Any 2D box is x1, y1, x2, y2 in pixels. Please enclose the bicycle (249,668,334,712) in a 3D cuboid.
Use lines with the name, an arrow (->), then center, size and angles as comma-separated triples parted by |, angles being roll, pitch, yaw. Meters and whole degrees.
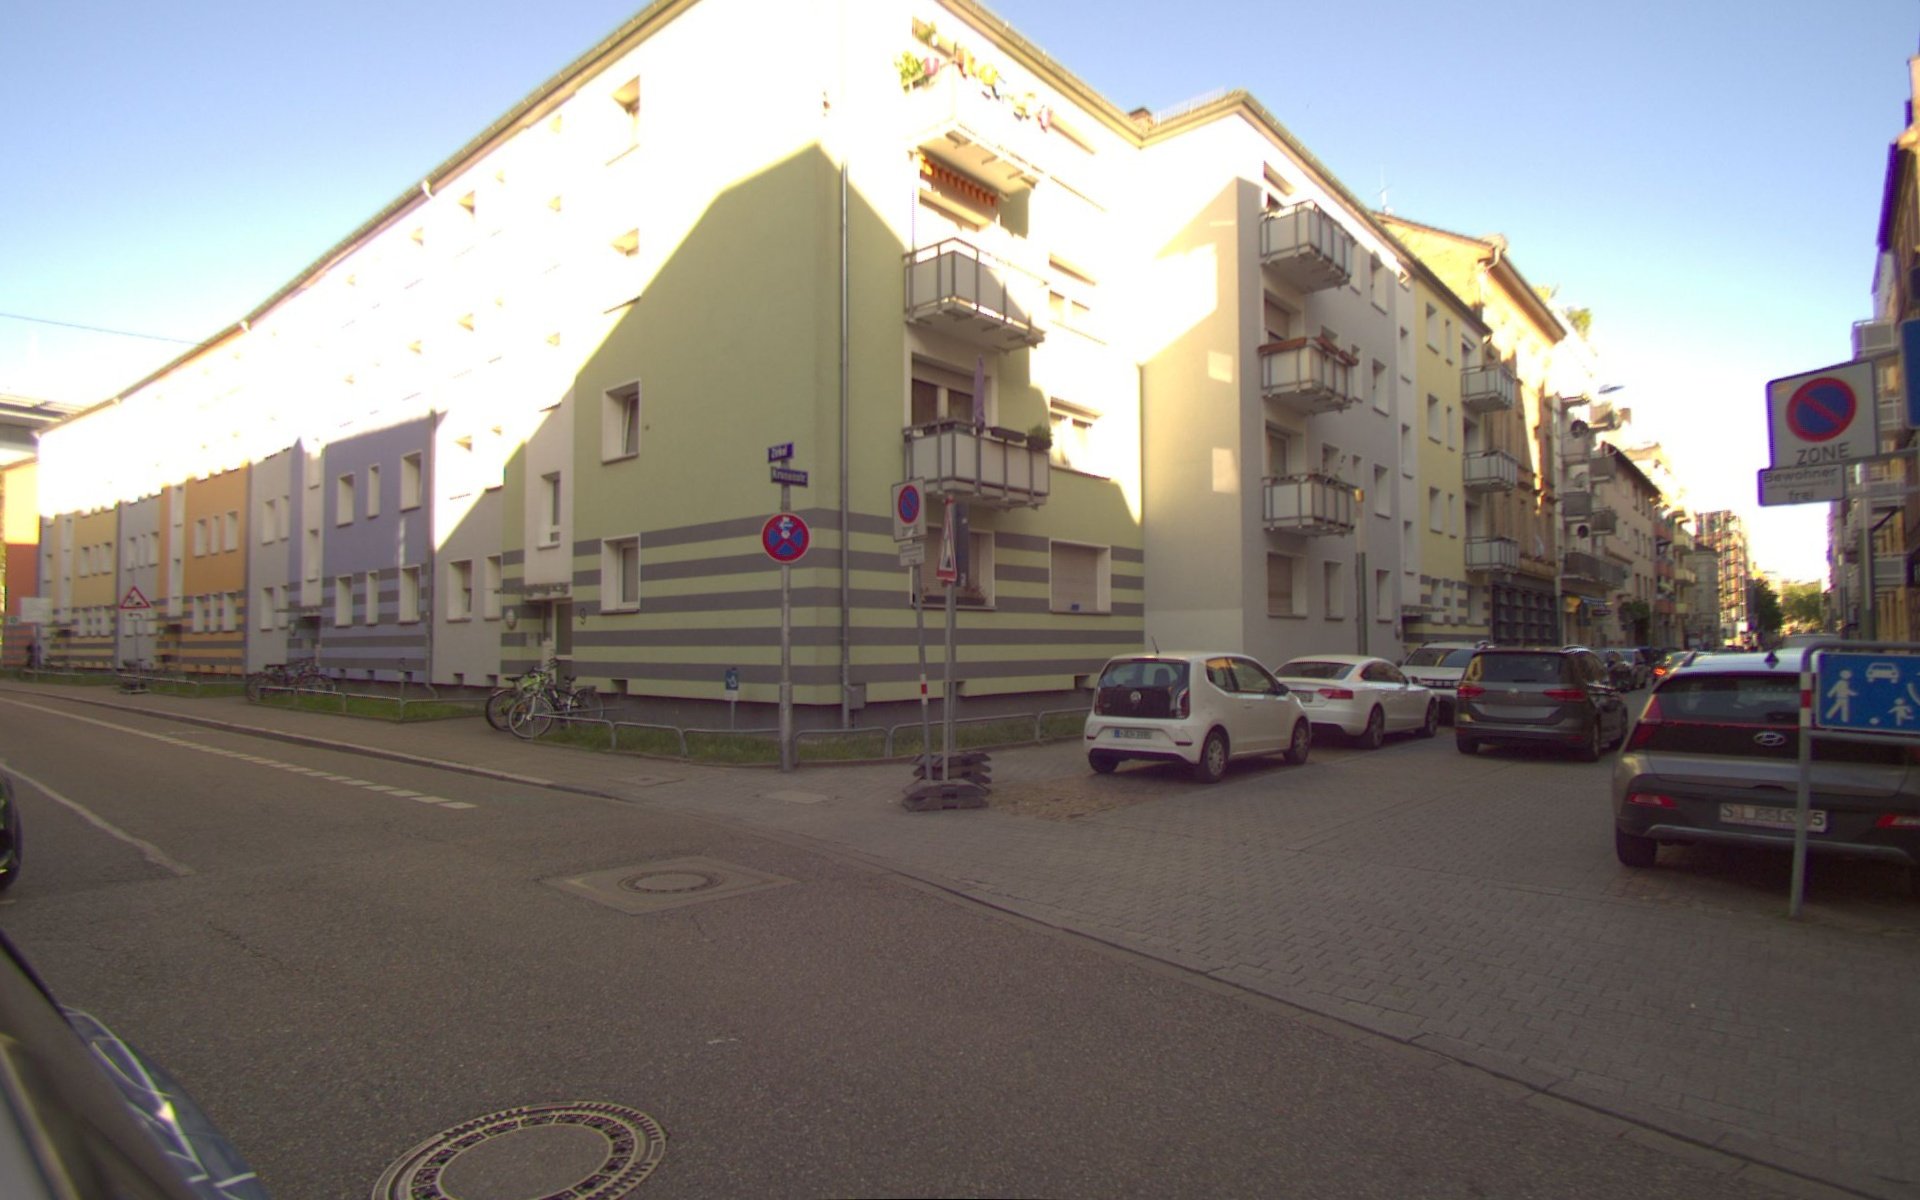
bicycle -> -17.441, 2.339, 26.436 | 0.388, 0.953, 1.780 | -3, 0, 41

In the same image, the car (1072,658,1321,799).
car -> 3.037, 1.472, 12.621 | 1.724, 1.448, 3.300 | -3, -4, 40

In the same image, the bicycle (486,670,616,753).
bicycle -> -6.678, 1.787, 16.584 | 0.749, 1.109, 1.797 | -3, 0, 41

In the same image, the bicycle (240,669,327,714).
bicycle -> -17.161, 2.307, 25.703 | 0.388, 0.953, 1.780 | -3, 0, 41

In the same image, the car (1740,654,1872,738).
car -> 17.287, 1.899, 20.628 | 1.787, 1.493, 3.858 | -5, -5, 43

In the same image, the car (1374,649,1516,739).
car -> 10.075, 1.872, 20.883 | 1.757, 1.624, 4.094 | -5, -5, 38

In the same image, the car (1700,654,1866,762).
car -> 13.551, 1.686, 16.580 | 1.787, 1.493, 3.858 | -5, -5, 43

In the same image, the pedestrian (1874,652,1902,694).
pedestrian -> 35.874, 2.817, 39.113 | 0.689, 1.593, 0.628 | -3, -1, 38

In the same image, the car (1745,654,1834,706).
car -> 24.695, 2.352, 30.095 | 1.787, 1.419, 3.436 | -5, -5, 43

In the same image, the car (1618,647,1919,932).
car -> 6.108, 1.128, 7.397 | 1.691, 1.531, 3.892 | -3, -4, 40

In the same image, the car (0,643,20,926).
car -> -7.425, 1.112, 6.150 | 4.664, 1.490, 1.764 | -4, -1, 38

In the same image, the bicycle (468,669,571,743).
bicycle -> -7.829, 1.868, 18.063 | 0.387, 1.109, 1.719 | -3, 0, 34

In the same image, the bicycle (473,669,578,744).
bicycle -> -7.579, 1.836, 17.735 | 0.387, 1.109, 1.719 | -3, 0, 34

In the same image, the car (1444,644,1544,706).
car -> 13.184, 1.821, 24.929 | 1.485, 1.400, 3.360 | -5, -5, 39

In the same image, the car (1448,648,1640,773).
car -> 8.908, 1.541, 15.279 | 1.785, 1.580, 4.114 | -3, -4, 40

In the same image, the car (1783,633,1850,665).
car -> 34.208, 1.967, 40.496 | 1.783, 1.196, 3.045 | -4, -5, 36

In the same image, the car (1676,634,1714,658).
car -> 47.990, 3.008, 66.026 | 1.585, 1.519, 3.847 | -3, -4, 42

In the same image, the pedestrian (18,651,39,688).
pedestrian -> -42.721, 3.168, 46.420 | 0.447, 1.663, 0.605 | -3, -3, 35

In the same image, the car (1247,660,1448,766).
car -> 6.398, 1.712, 16.428 | 1.758, 1.408, 4.271 | -3, -3, 40

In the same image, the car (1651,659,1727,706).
car -> 23.898, 2.650, 33.141 | 1.585, 1.392, 3.847 | -3, -4, 42

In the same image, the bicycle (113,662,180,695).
bicycle -> -29.568, 2.835, 36.803 | 0.653, 0.990, 1.786 | -3, 1, 37

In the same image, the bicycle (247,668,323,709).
bicycle -> -18.255, 2.385, 27.412 | 0.388, 0.953, 1.636 | -3, 0, 41

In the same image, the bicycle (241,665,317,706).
bicycle -> -18.590, 2.315, 27.649 | 0.388, 0.953, 1.636 | -3, 0, 41
